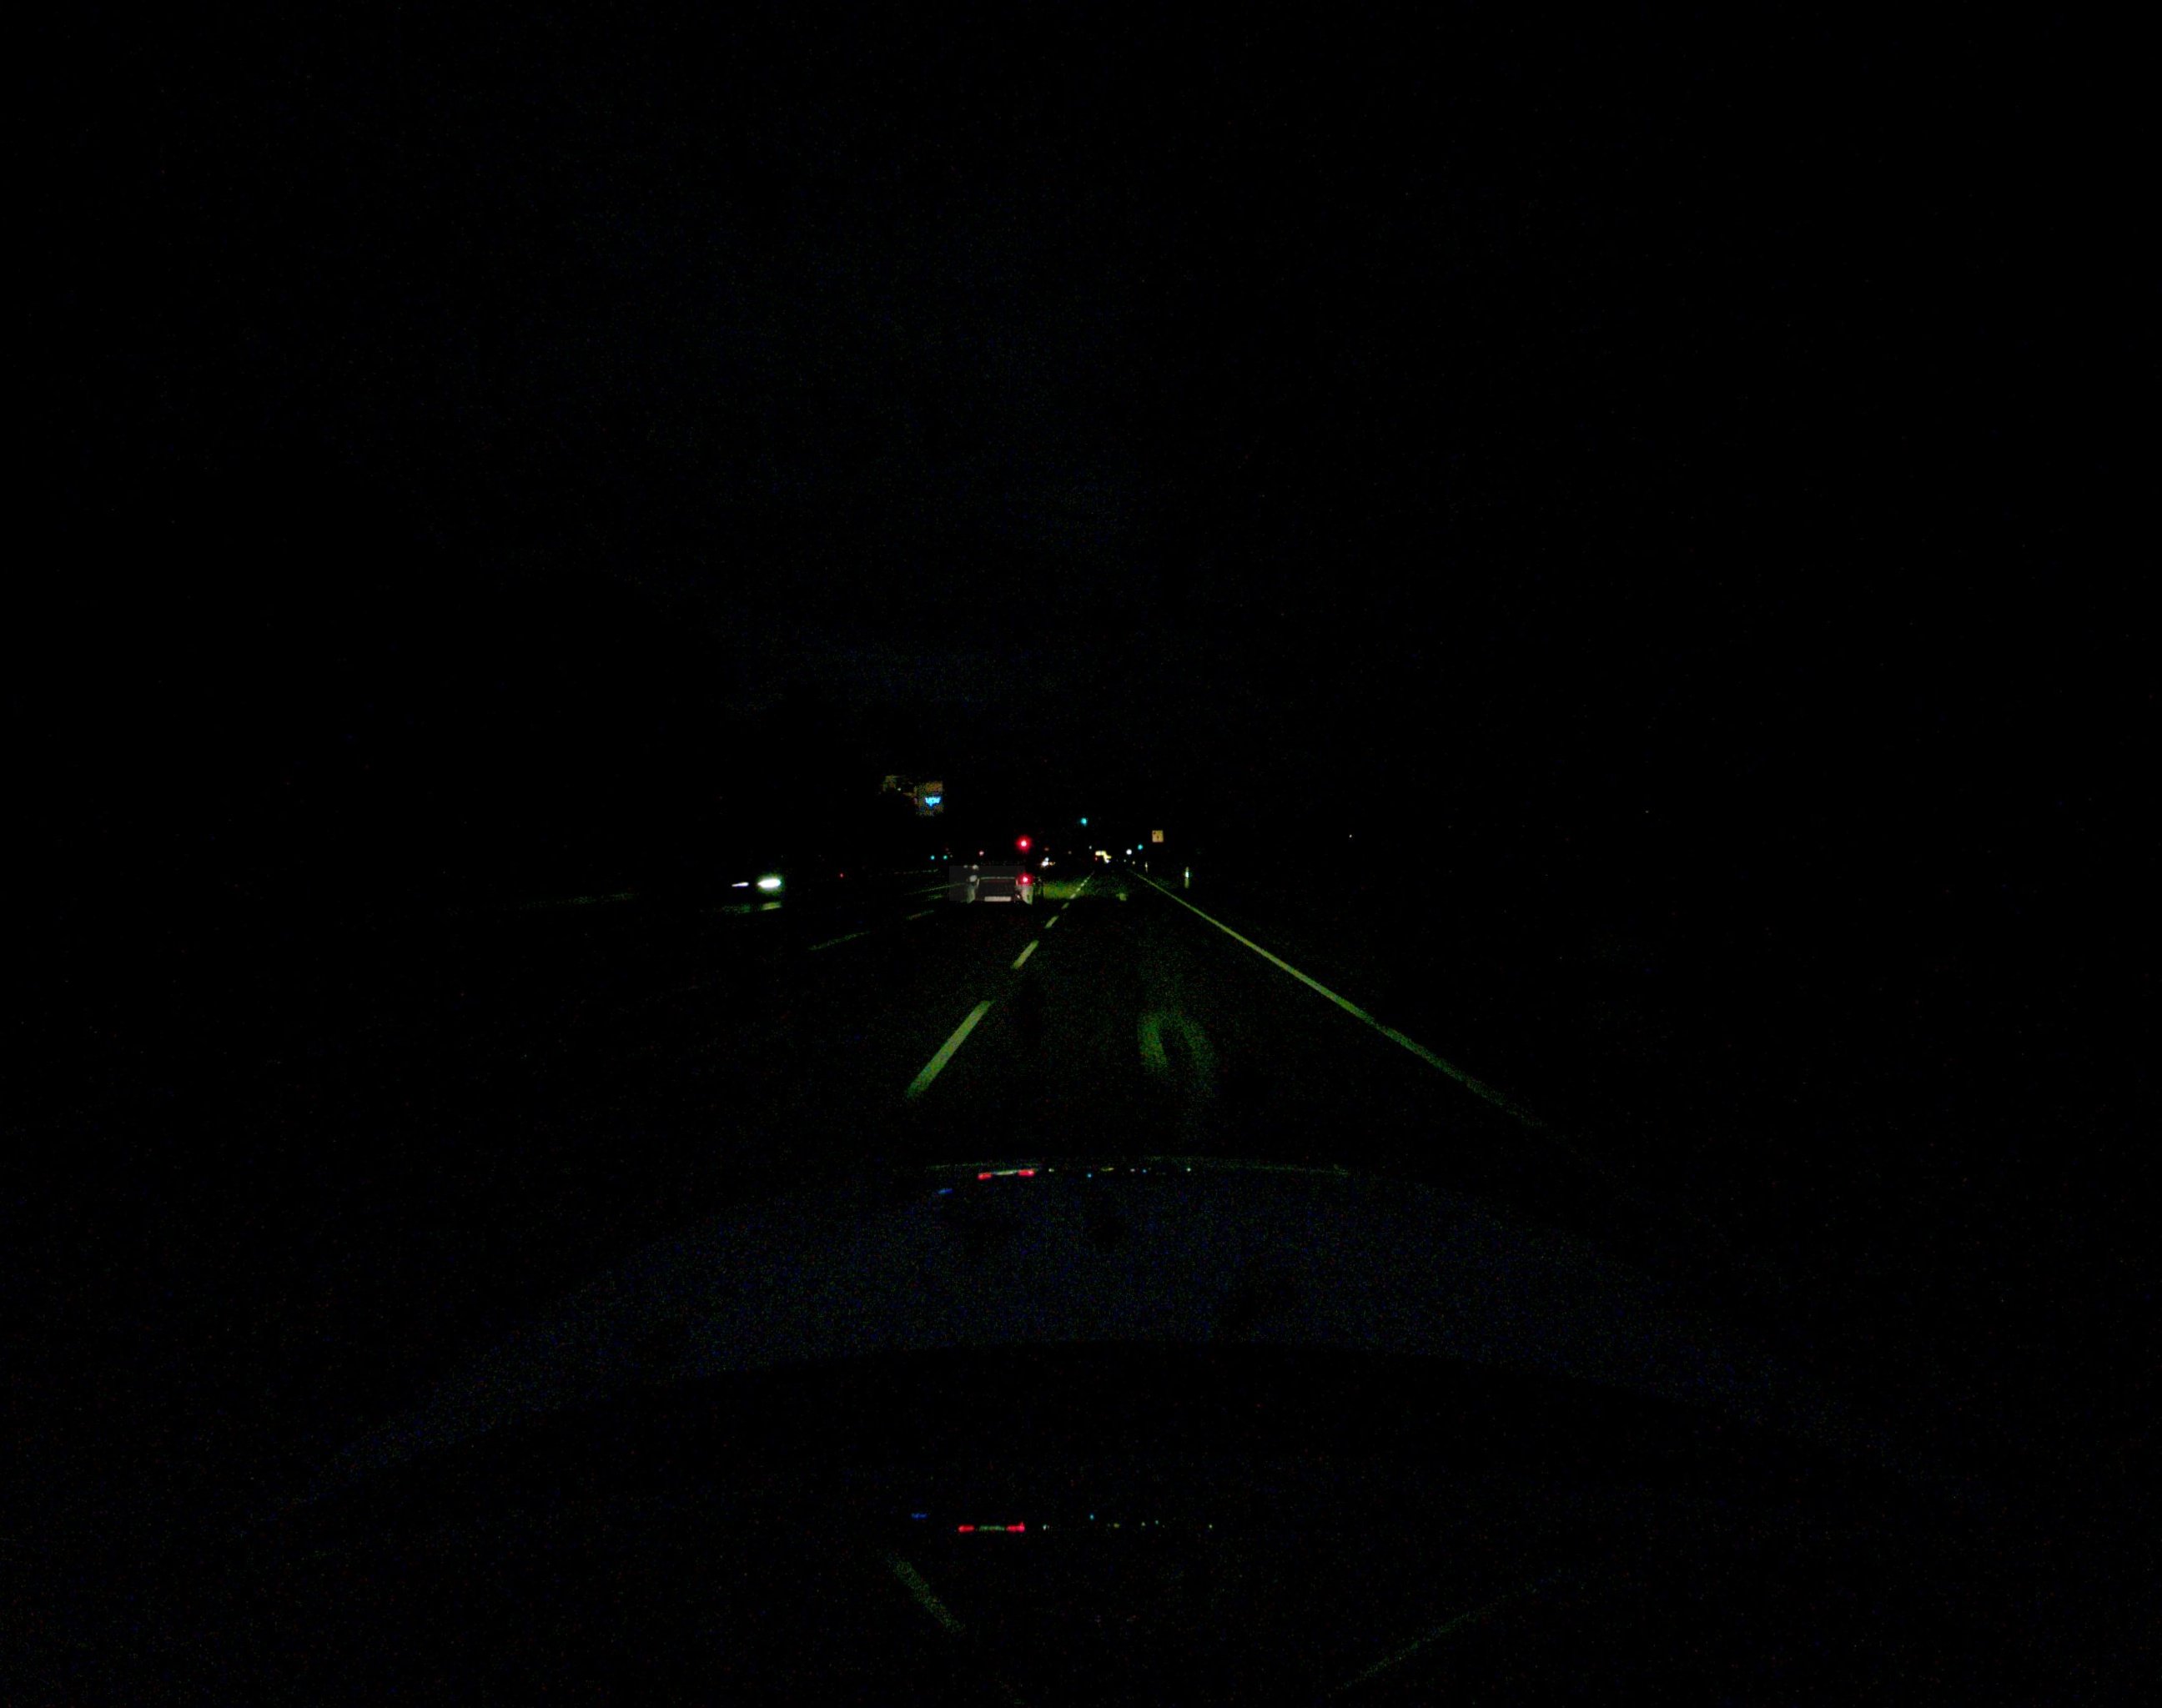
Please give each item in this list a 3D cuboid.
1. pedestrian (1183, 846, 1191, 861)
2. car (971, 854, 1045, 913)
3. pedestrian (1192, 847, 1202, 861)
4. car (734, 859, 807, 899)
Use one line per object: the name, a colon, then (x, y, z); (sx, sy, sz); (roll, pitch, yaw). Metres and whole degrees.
pedestrian: (12.889, -0.045, 99.166); (0.918, 1.793, 1.107); (-1, 0, 2)
car: (-1.972, 0.756, 23.182); (1.636, 1.490, 4.580); (-1, 0, 1)
pedestrian: (14.059, -0.009, 98.886); (1.087, 1.723, 1.260); (-1, 0, 1)
car: (-14.305, 1.102, 37.771); (1.607, 1.723, 4.316); (-1, 0, 1)
